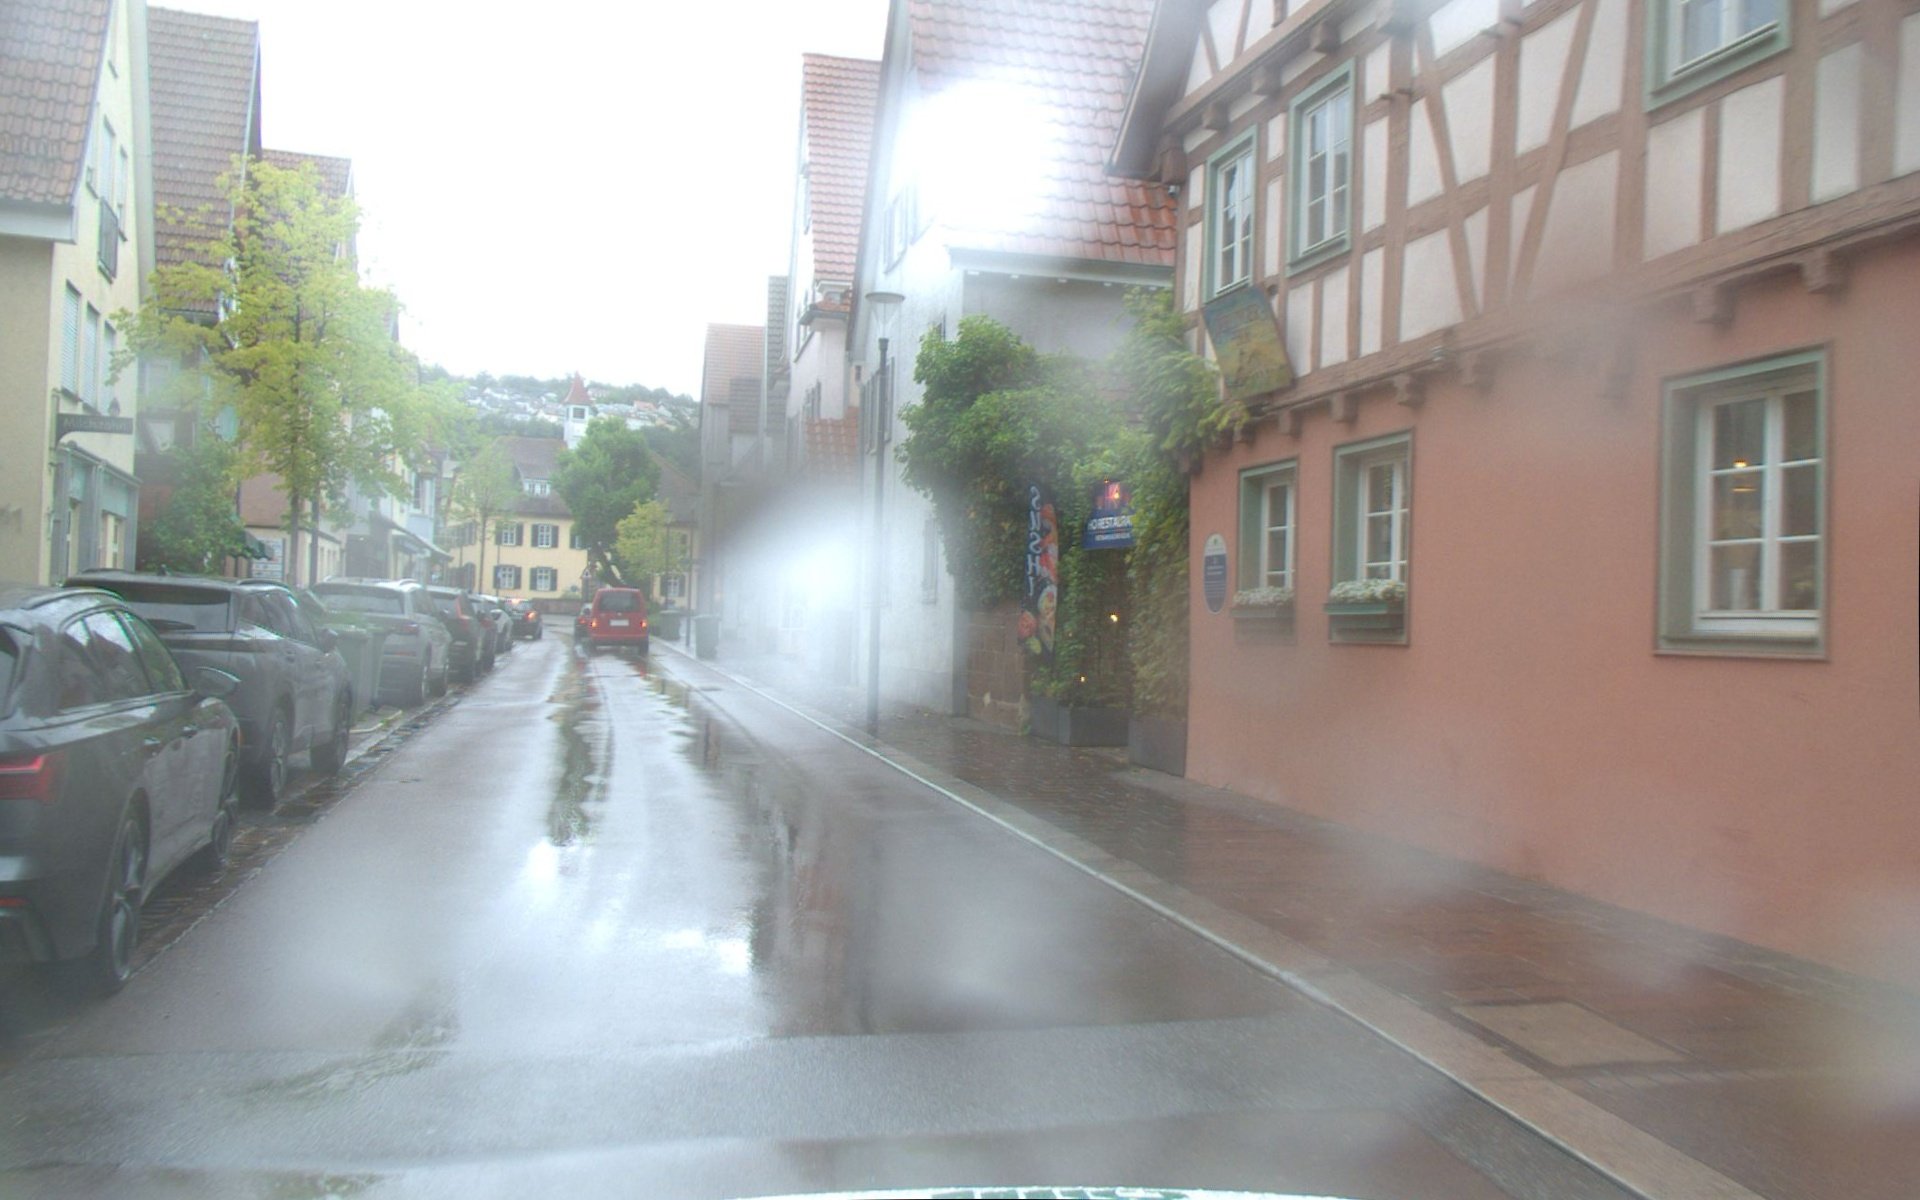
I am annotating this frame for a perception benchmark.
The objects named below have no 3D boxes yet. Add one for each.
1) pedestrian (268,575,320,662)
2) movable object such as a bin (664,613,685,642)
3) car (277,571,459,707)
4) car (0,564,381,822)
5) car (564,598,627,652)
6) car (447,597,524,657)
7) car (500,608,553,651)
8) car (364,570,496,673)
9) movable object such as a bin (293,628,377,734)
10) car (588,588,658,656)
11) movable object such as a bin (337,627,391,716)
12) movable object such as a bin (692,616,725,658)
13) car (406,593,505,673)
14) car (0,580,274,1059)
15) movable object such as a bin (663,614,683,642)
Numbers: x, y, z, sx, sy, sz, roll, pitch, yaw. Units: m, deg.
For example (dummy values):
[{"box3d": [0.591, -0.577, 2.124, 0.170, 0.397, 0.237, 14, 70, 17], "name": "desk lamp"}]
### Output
[{"box3d": [-13.564, 0.392, 33.717, 0.775, 1.711, 1.171, 3, -3, -16], "name": "pedestrian"}, {"box3d": [-11.190, 1.074, 64.729, 0.754, 1.098, 0.597, 2, -3, -12], "name": "movable object such as a bin"}, {"box3d": [-8.323, 0.595, 23.646, 1.792, 1.696, 4.627, 3, -3, -12], "name": "car"}, {"box3d": [-5.743, 0.608, 12.528, 1.828, 1.551, 4.316, 3, -1, -11], "name": "car"}, {"box3d": [-13.419, 0.950, 60.732, 1.961, 1.831, 3.982, 3, -3, -16], "name": "car"}, {"box3d": [-13.463, 0.738, 47.076, 1.661, 1.565, 4.110, 3, 0, -11], "name": "car"}, {"box3d": [-16.450, 1.101, 62.863, 1.662, 1.469, 3.873, 3, 0, -12], "name": "car"}, {"box3d": [-9.700, 0.449, 30.585, 1.792, 1.696, 4.627, 3, -3, -12], "name": "car"}, {"box3d": [-6.787, 0.876, 18.004, 0.734, 1.102, 0.741, 3, -3, -15], "name": "movable object such as a bin"}, {"box3d": [-10.092, 0.636, 49.615, 1.860, 1.843, 3.989, 3, -1, -11], "name": "car"}, {"box3d": [-7.311, 0.876, 20.304, 0.542, 1.064, 0.532, 3, -3, -17], "name": "movable object such as a bin"}, {"box3d": [-6.633, 0.979, 43.591, 0.779, 1.099, 0.612, 1, -2, -16], "name": "movable object such as a bin"}, {"box3d": [-11.039, 0.681, 36.431, 1.750, 1.565, 4.274, 3, 0, -14], "name": "car"}, {"box3d": [-4.207, 0.649, 7.084, 1.832, 1.467, 4.597, 2, -1, -17], "name": "car"}, {"box3d": [-11.351, 1.112, 65.448, 0.741, 1.082, 0.598, 2, -3, -12], "name": "movable object such as a bin"}]
